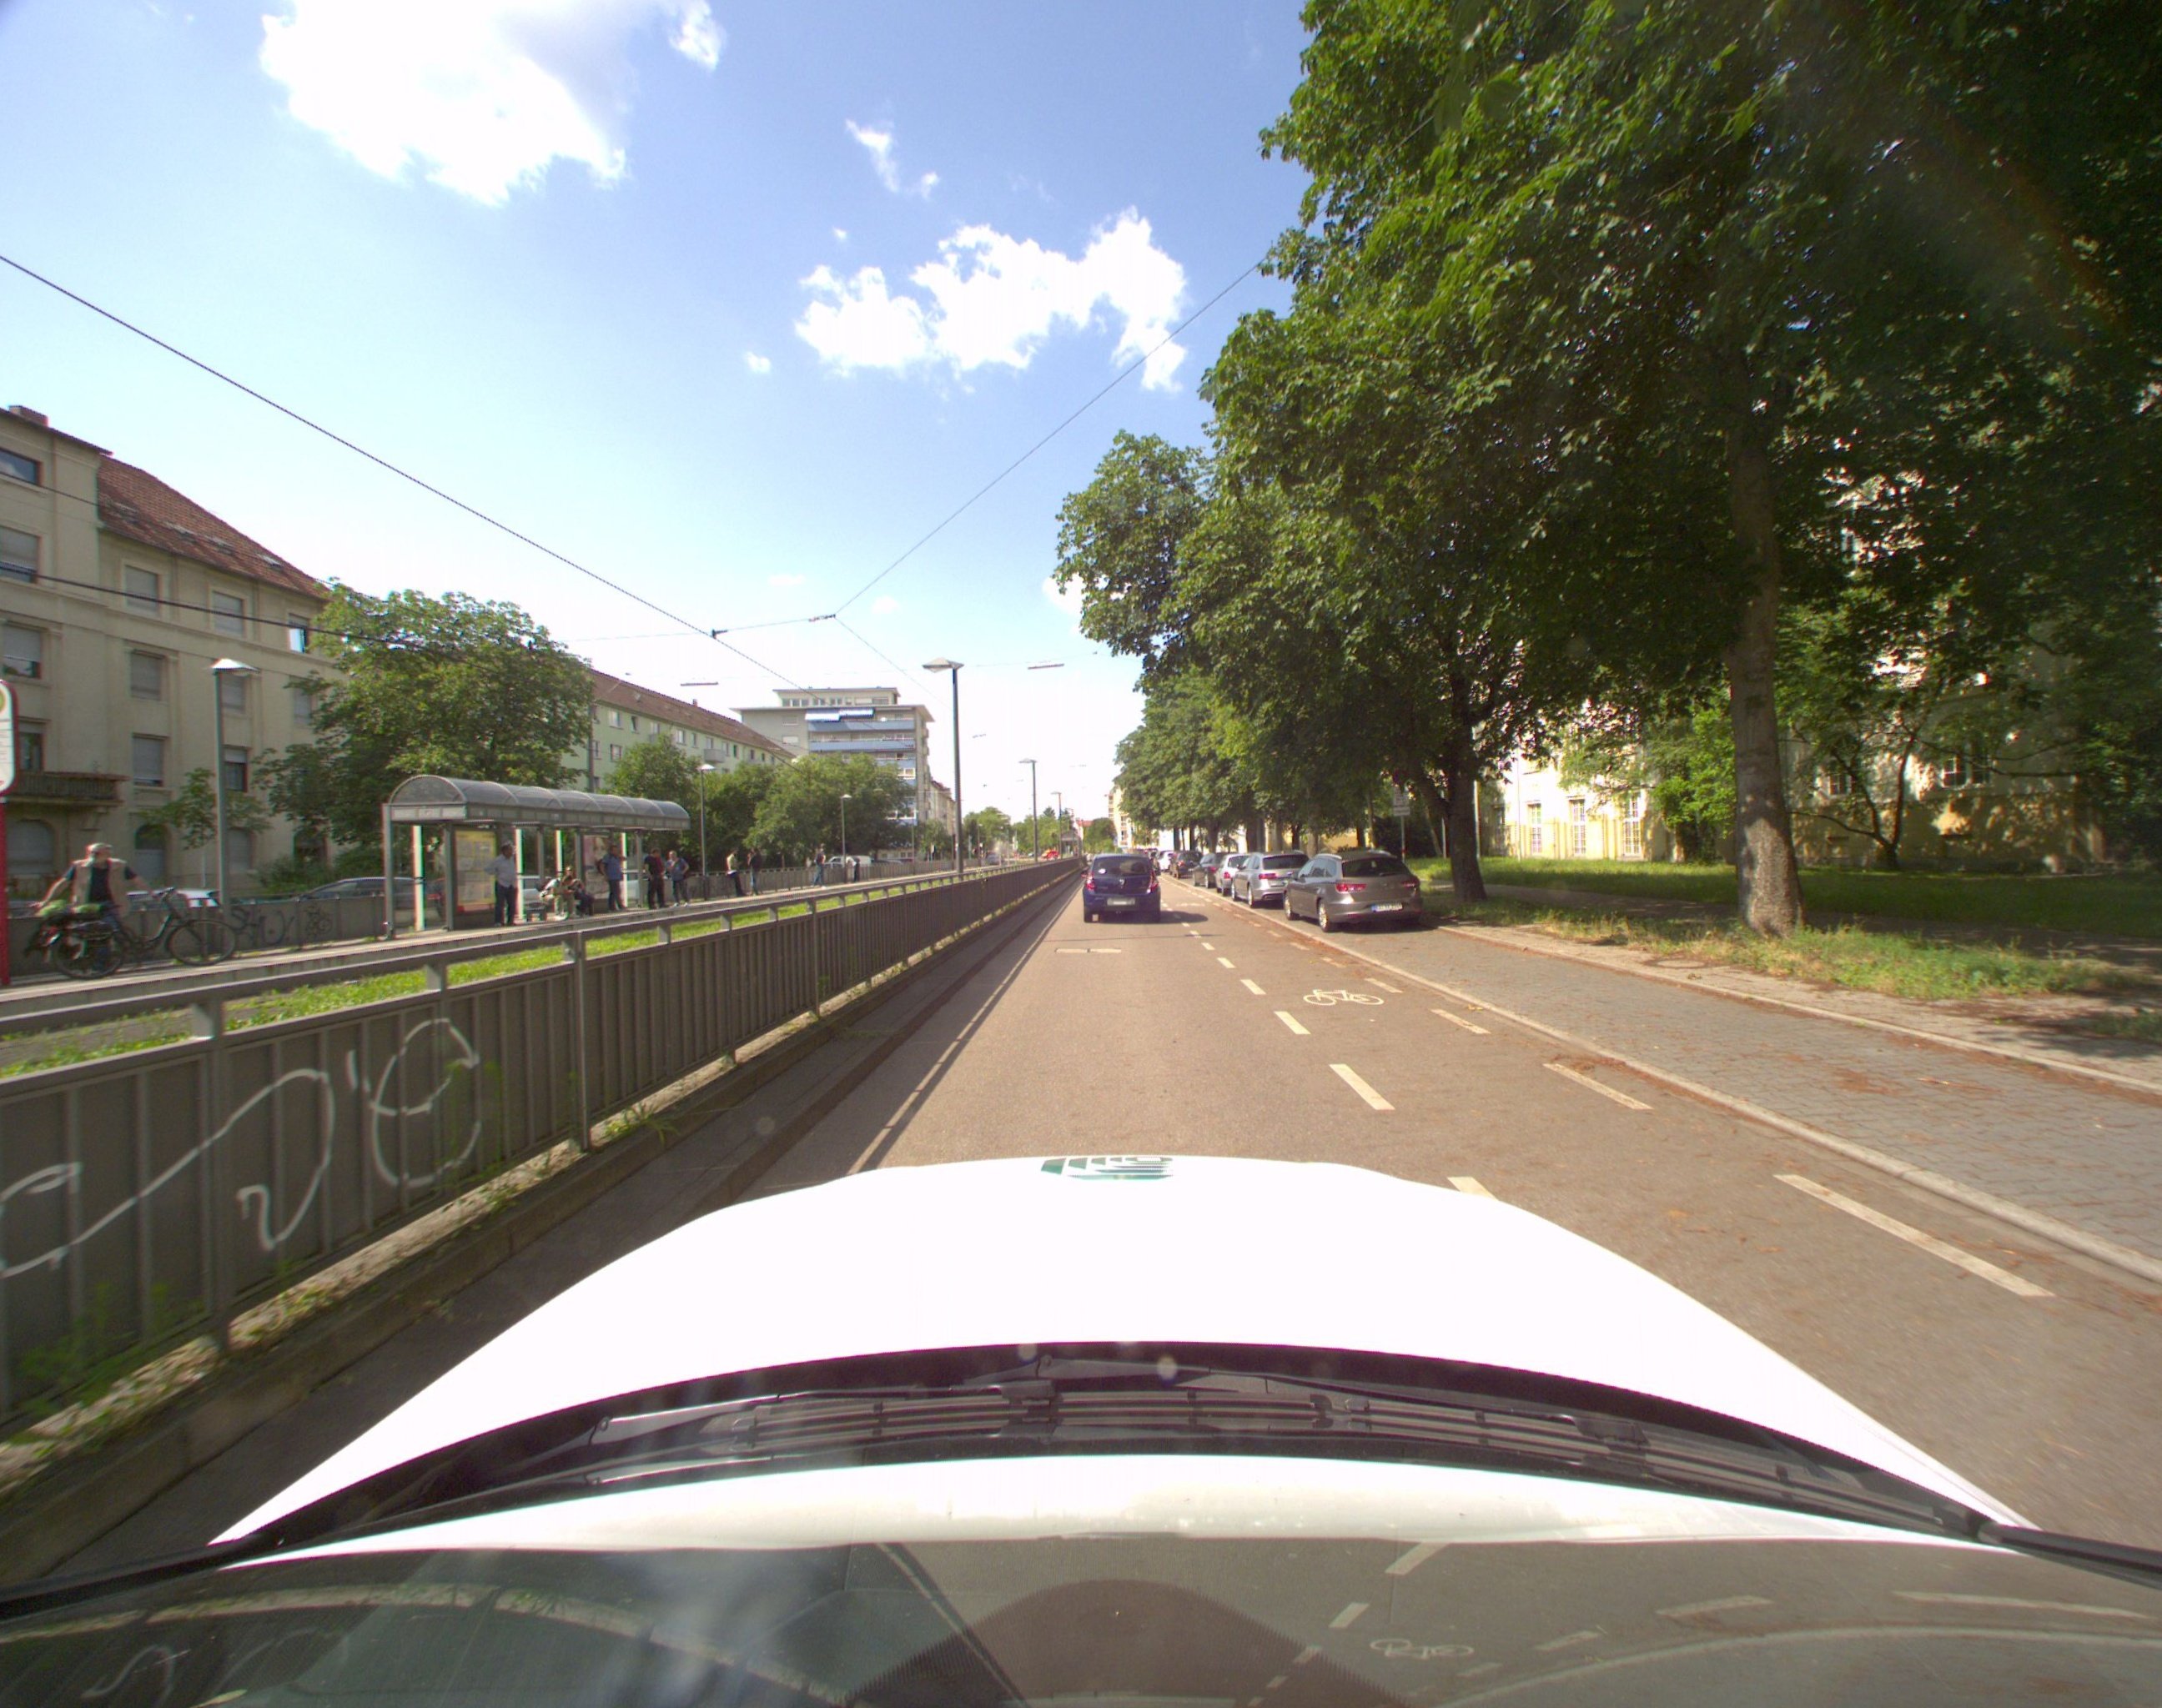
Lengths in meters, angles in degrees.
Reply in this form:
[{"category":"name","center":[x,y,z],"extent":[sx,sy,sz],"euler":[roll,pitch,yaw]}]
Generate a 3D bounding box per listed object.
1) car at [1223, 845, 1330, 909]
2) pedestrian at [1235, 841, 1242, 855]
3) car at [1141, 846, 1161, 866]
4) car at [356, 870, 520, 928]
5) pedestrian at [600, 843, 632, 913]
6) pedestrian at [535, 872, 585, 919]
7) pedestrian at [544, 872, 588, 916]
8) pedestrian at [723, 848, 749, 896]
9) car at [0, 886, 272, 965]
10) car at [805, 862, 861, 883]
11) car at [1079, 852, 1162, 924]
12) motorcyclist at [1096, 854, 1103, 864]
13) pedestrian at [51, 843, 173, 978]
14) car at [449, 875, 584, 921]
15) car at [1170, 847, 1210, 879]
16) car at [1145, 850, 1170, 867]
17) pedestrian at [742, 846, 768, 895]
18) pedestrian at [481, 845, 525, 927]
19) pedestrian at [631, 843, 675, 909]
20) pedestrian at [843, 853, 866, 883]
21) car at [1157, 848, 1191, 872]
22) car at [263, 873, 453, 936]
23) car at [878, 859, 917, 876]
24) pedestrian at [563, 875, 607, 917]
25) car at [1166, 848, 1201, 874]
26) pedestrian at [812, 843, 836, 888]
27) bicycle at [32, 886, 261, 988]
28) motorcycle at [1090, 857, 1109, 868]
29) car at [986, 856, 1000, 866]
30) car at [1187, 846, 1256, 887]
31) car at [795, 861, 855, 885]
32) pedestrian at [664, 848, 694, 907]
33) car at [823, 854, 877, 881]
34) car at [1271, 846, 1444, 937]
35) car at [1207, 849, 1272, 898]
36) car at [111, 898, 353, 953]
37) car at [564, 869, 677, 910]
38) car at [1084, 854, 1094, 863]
[{"category":"car","center":[5.323,0.547,22.833],"extent":[1.822,1.441,5.052],"euler":[-5,0,2]},{"category":"pedestrian","center":[17.859,-0.681,92.490],"extent":[0.629,1.596,0.539],"euler":[-2,-1,-1]},{"category":"car","center":[7.284,0.164,84.888],"extent":[1.815,1.896,4.187],"euler":[-3,0,3]},{"category":"car","center":[-21.454,1.451,27.353],"extent":[4.156,1.640,1.814],"euler":[-2,-1,-38]},{"category":"pedestrian","center":[-12.447,0.626,21.792],"extent":[0.441,1.827,0.623],"euler":[-2,-1,-1]},{"category":"pedestrian","center":[-12.256,0.973,19.156],"extent":[0.717,1.031,0.623],"euler":[-3,-1,-1]},{"category":"pedestrian","center":[-12.636,0.975,19.996],"extent":[0.652,1.031,0.562],"euler":[-3,-1,-1]},{"category":"pedestrian","center":[-12.450,0.642,29.383],"extent":[0.604,1.674,0.625],"euler":[-2,-1,1]},{"category":"car","center":[-21.638,1.564,18.746],"extent":[4.017,1.529,1.655],"euler":[0,0,-35]},{"category":"car","center":[-20.078,1.509,65.986],"extent":[4.014,1.485,1.593],"euler":[-2,0,-32]},{"category":"car","center":[0.887,0.715,19.192],"extent":[1.737,1.507,4.001],"euler":[0,0,1]},{"category":"motorcyclist","center":[2.528,0.717,111.775],"extent":[0.980,1.339,0.941],"euler":[-2,0,-1]},{"category":"pedestrian","center":[-13.041,0.737,10.986],"extent":[0.636,1.724,0.798],"euler":[-2,-1,-1]},{"category":"car","center":[-21.151,1.606,30.575],"extent":[4.044,1.391,1.795],"euler":[-2,1,-39]},{"category":"car","center":[6.040,0.458,45.583],"extent":[1.684,1.561,4.309],"euler":[-5,0,2]},{"category":"car","center":[7.406,0.408,79.524],"extent":[1.911,1.442,4.797],"euler":[-4,0,1]},{"category":"pedestrian","center":[-11.776,0.602,29.376],"extent":[0.601,1.754,0.629],"euler":[-3,-1,42]},{"category":"pedestrian","center":[-12.447,0.686,17.549],"extent":[0.485,1.726,0.623],"euler":[-1,-1,-1]},{"category":"pedestrian","center":[-11.869,0.598,22.612],"extent":[0.630,1.743,1.036],"euler":[-2,-1,-1]},{"category":"pedestrian","center":[-11.975,0.740,43.077],"extent":[0.985,1.578,0.798],"euler":[-2,-1,-1]},{"category":"car","center":[6.733,0.410,59.513],"extent":[1.830,1.523,4.252],"euler":[-4,0,-1]},{"category":"car","center":[-21.509,1.449,24.458],"extent":[4.014,1.568,1.593],"euler":[-2,0,-32]},{"category":"car","center":[-19.288,1.412,85.689],"extent":[3.677,1.579,1.633],"euler":[-2,0,-29]},{"category":"pedestrian","center":[-12.581,1.055,20.661],"extent":[0.702,0.995,0.562],"euler":[-3,-1,-1]},{"category":"car","center":[6.360,0.444,50.776],"extent":[1.551,1.461,3.557],"euler":[-5,-1,-1]},{"category":"pedestrian","center":[-10.895,0.485,34.581],"extent":[0.747,1.892,0.639],"euler":[-2,-2,4]},{"category":"bicycle","center":[-12.280,1.048,10.811],"extent":[0.657,1.114,1.882],"euler":[-4,0,10]},{"category":"motorcycle","center":[2.583,1.175,111.744],"extent":[2.503,1.339,1.017],"euler":[-3,0,-3]},{"category":"car","center":[-14.505,1.175,134.982],"extent":[1.988,1.645,3.997],"euler":[0,-1,-2]},{"category":"car","center":[5.750,0.527,33.984],"extent":[1.826,1.467,4.827],"euler":[-4,-1,-2]},{"category":"car","center":[-19.890,1.414,63.285],"extent":[4.017,1.639,1.808],"euler":[-2,1,-36]},{"category":"pedestrian","center":[-11.470,0.651,23.263],"extent":[0.597,1.632,0.556],"euler":[-2,0,-13]},{"category":"car","center":[-19.556,1.151,68.994],"extent":[3.963,2.070,2.030],"euler":[-2,0,-30]},{"category":"car","center":[5.324,0.634,16.400],"extent":[1.823,1.400,4.657],"euler":[-5,0,0]},{"category":"car","center":[5.385,0.604,28.045],"extent":[1.628,1.431,4.019],"euler":[-5,0,4]},{"category":"car","center":[-22.015,1.817,21.366],"extent":[4.009,1.150,1.777],"euler":[0,0,-28]},{"category":"car","center":[-20.882,1.572,37.020],"extent":[4.174,1.565,1.904],"euler":[-2,-1,-39]},{"category":"car","center":[1.310,0.702,134.978],"extent":[1.618,1.465,3.507],"euler":[0,-1,-3]}]
